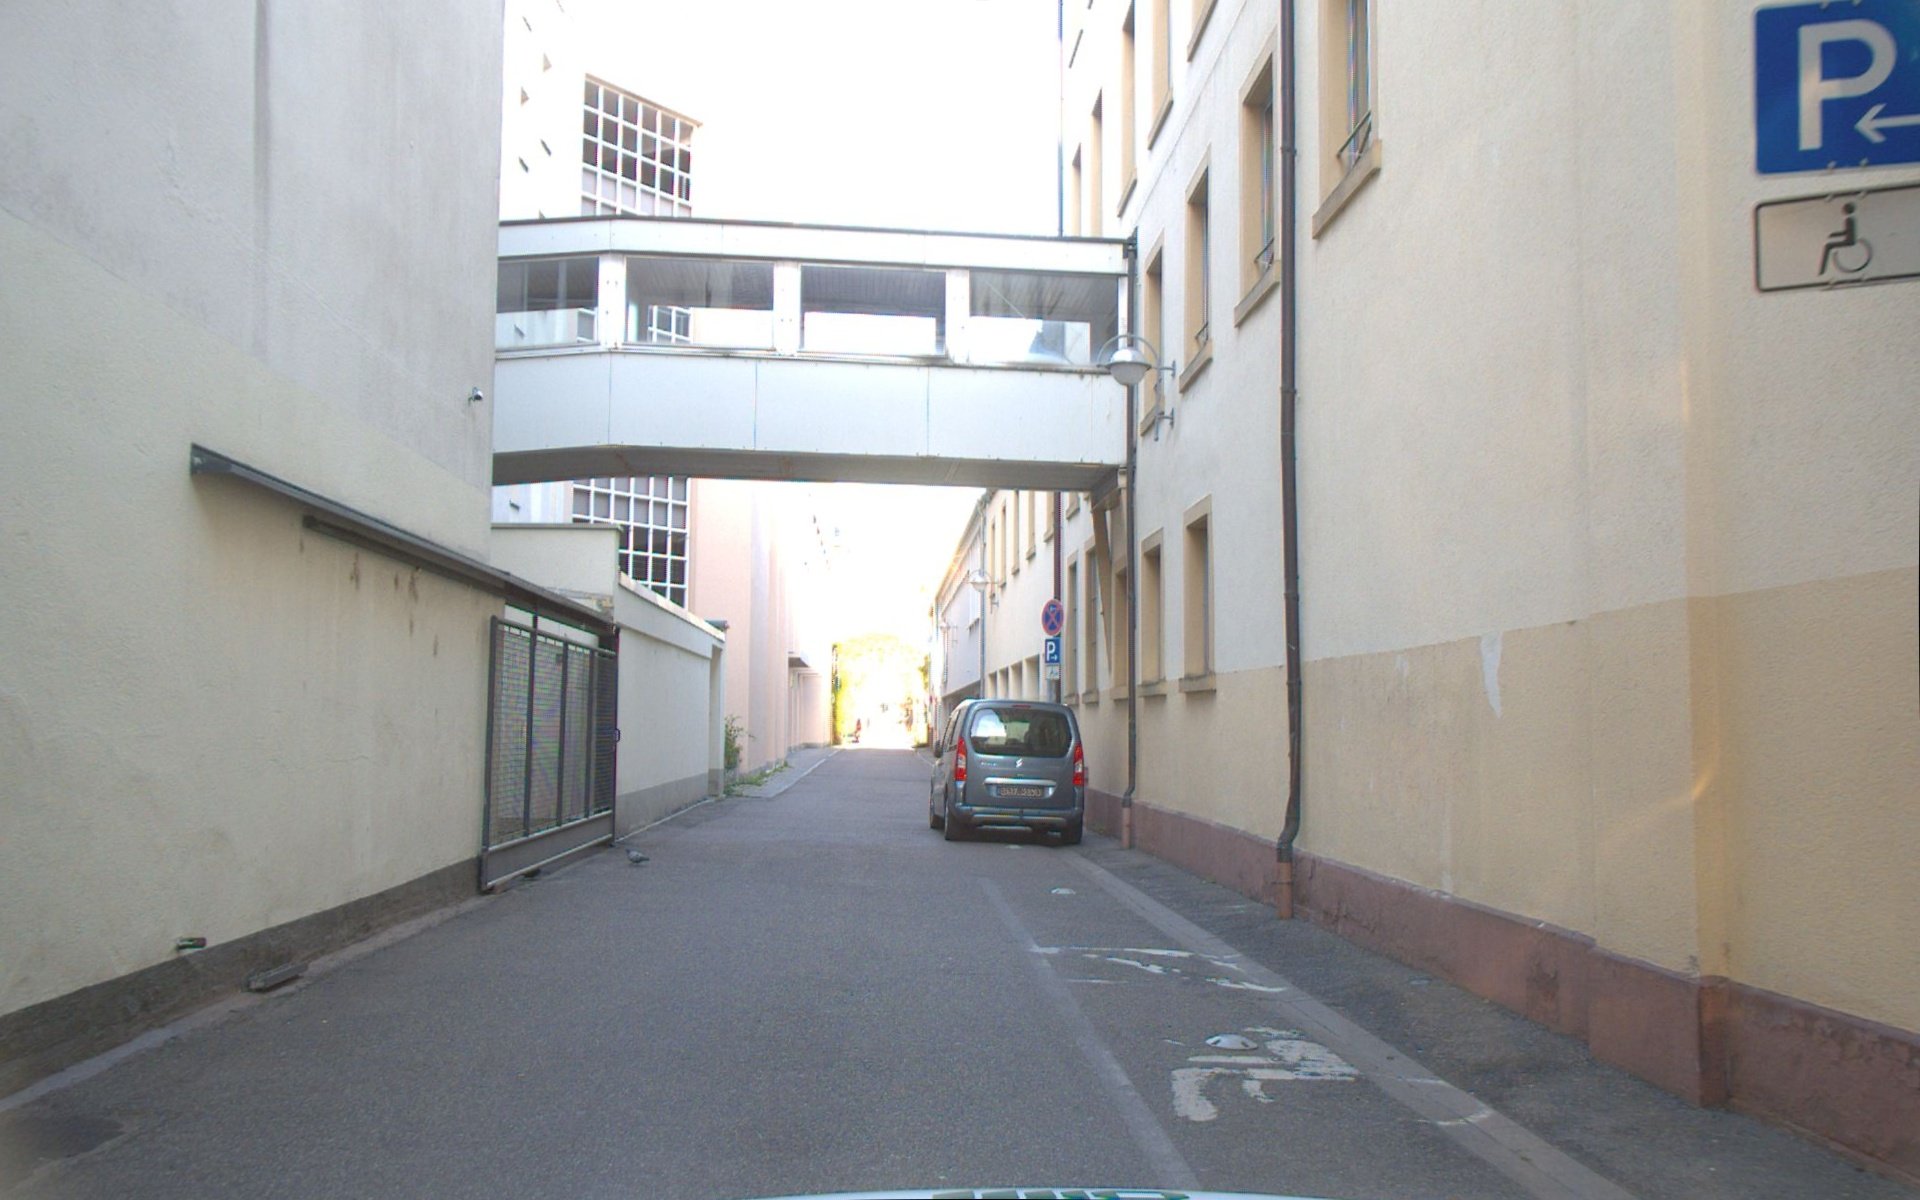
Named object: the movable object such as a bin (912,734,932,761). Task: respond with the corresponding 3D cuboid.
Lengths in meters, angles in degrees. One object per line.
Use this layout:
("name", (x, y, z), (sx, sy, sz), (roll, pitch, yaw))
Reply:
("movable object such as a bin", (-2.177, 8.406, 94.306), (1.085, 1.461, 1.413), (0, -2, -3))

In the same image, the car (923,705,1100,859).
("car", (0.600, 2.424, 22.467), (1.819, 1.787, 4.156), (4, -5, -5))
